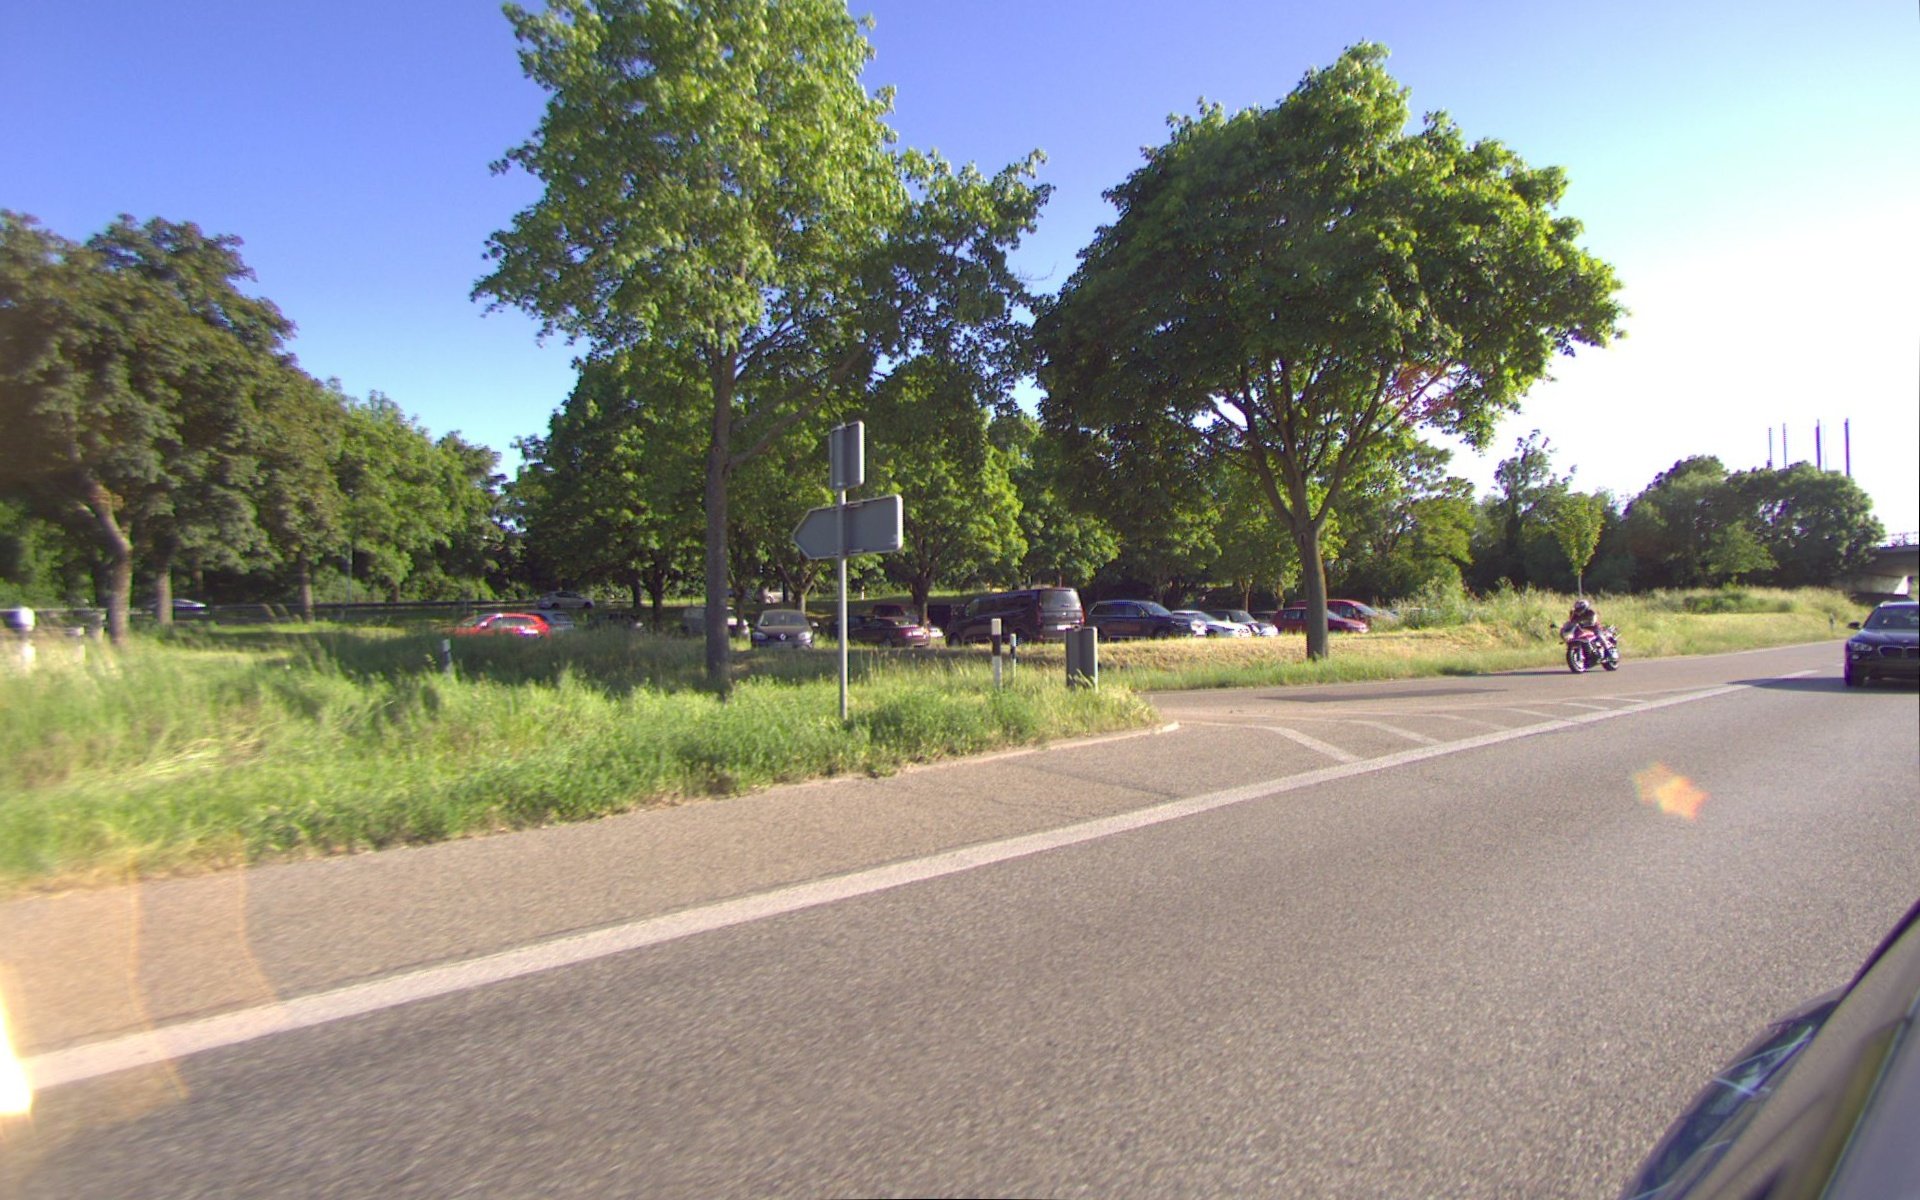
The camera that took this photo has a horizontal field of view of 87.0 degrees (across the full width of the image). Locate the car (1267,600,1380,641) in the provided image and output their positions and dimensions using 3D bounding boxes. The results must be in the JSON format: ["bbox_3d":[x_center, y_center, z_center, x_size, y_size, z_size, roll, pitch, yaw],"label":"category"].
[{"bbox_3d":[15.205,0.881,42.484,1.927,1.520,4.012,-1,-2,-41],"label":"car"}]

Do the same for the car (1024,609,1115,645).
[{"bbox_3d":[5.210,1.311,48.589,1.711,1.530,4.287,-2,-2,-42],"label":"car"}]

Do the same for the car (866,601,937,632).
[{"bbox_3d":[-3.766,1.039,64.752,4.583,1.798,1.917,1,2,43],"label":"car"}]

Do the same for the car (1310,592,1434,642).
[{"bbox_3d":[18.694,0.763,46.033,1.993,2.048,4.794,-4,2,-42],"label":"car"}]

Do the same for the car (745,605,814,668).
[{"bbox_3d":[-5.153,1.029,28.926,1.751,1.580,4.232,-2,-2,-10],"label":"car"}]

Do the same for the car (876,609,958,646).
[{"bbox_3d":[-2.259,1.436,51.776,2.001,1.684,4.656,-2,-2,-34],"label":"car"}]

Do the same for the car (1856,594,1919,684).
[{"bbox_3d":[18.155,0.661,18.799,4.499,1.525,1.702,-1,1,-41],"label":"car"}]

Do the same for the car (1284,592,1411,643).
[{"bbox_3d":[17.000,0.759,44.531,1.993,2.048,4.794,-4,2,-42],"label":"car"}]

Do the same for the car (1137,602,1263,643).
[{"bbox_3d":[8.860,0.843,37.595,1.927,1.327,4.217,-1,-2,-41],"label":"car"}]

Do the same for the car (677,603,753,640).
[{"bbox_3d":[-13.601,1.139,56.034,1.923,1.889,5.199,-1,1,-41],"label":"car"}]

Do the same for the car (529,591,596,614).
[{"bbox_3d":[-27.831,0.197,70.867,1.903,1.597,3.938,-1,-1,43],"label":"car"}]

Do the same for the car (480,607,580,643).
[{"bbox_3d":[-19.963,1.163,47.028,4.169,1.580,1.777,-1,-1,18],"label":"car"}]

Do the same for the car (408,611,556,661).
[{"bbox_3d":[-15.426,1.118,32.841,1.690,1.482,4.101,-1,-1,32],"label":"car"}]

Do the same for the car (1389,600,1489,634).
[{"bbox_3d":[23.300,0.840,49.286,1.893,1.478,3.935,-4,2,-43],"label":"car"}]

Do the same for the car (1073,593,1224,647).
[{"bbox_3d":[6.622,0.734,35.959,2.188,1.700,4.855,-1,-2,-44],"label":"car"}]

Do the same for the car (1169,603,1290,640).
[{"bbox_3d":[10.448,0.853,39.447,1.926,1.233,4.219,-1,-2,-39],"label":"car"}]

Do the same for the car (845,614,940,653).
[{"bbox_3d":[-2.854,1.364,42.091,1.947,1.427,4.134,-1,1,-38],"label":"car"}]

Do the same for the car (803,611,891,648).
[{"bbox_3d":[-5.547,1.464,49.240,2.002,1.577,4.865,-1,-2,-38],"label":"car"}]

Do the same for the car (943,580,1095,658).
[{"bbox_3d":[1.699,0.644,31.423,2.053,2.163,5.049,-1,-2,-33],"label":"car"}]

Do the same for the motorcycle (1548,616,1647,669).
[{"bbox_3d":[14.327,0.920,22.699,2.781,1.083,0.819,0,0,-34],"label":"motorcycle"}]

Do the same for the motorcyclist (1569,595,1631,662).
[{"bbox_3d":[14.388,0.627,22.752,1.072,1.466,0.819,0,0,-34],"label":"motorcyclist"}]

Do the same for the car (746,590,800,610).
[{"bbox_3d":[-15.313,0.032,83.025,3.926,1.597,1.908,0,-1,-37],"label":"car"}]
